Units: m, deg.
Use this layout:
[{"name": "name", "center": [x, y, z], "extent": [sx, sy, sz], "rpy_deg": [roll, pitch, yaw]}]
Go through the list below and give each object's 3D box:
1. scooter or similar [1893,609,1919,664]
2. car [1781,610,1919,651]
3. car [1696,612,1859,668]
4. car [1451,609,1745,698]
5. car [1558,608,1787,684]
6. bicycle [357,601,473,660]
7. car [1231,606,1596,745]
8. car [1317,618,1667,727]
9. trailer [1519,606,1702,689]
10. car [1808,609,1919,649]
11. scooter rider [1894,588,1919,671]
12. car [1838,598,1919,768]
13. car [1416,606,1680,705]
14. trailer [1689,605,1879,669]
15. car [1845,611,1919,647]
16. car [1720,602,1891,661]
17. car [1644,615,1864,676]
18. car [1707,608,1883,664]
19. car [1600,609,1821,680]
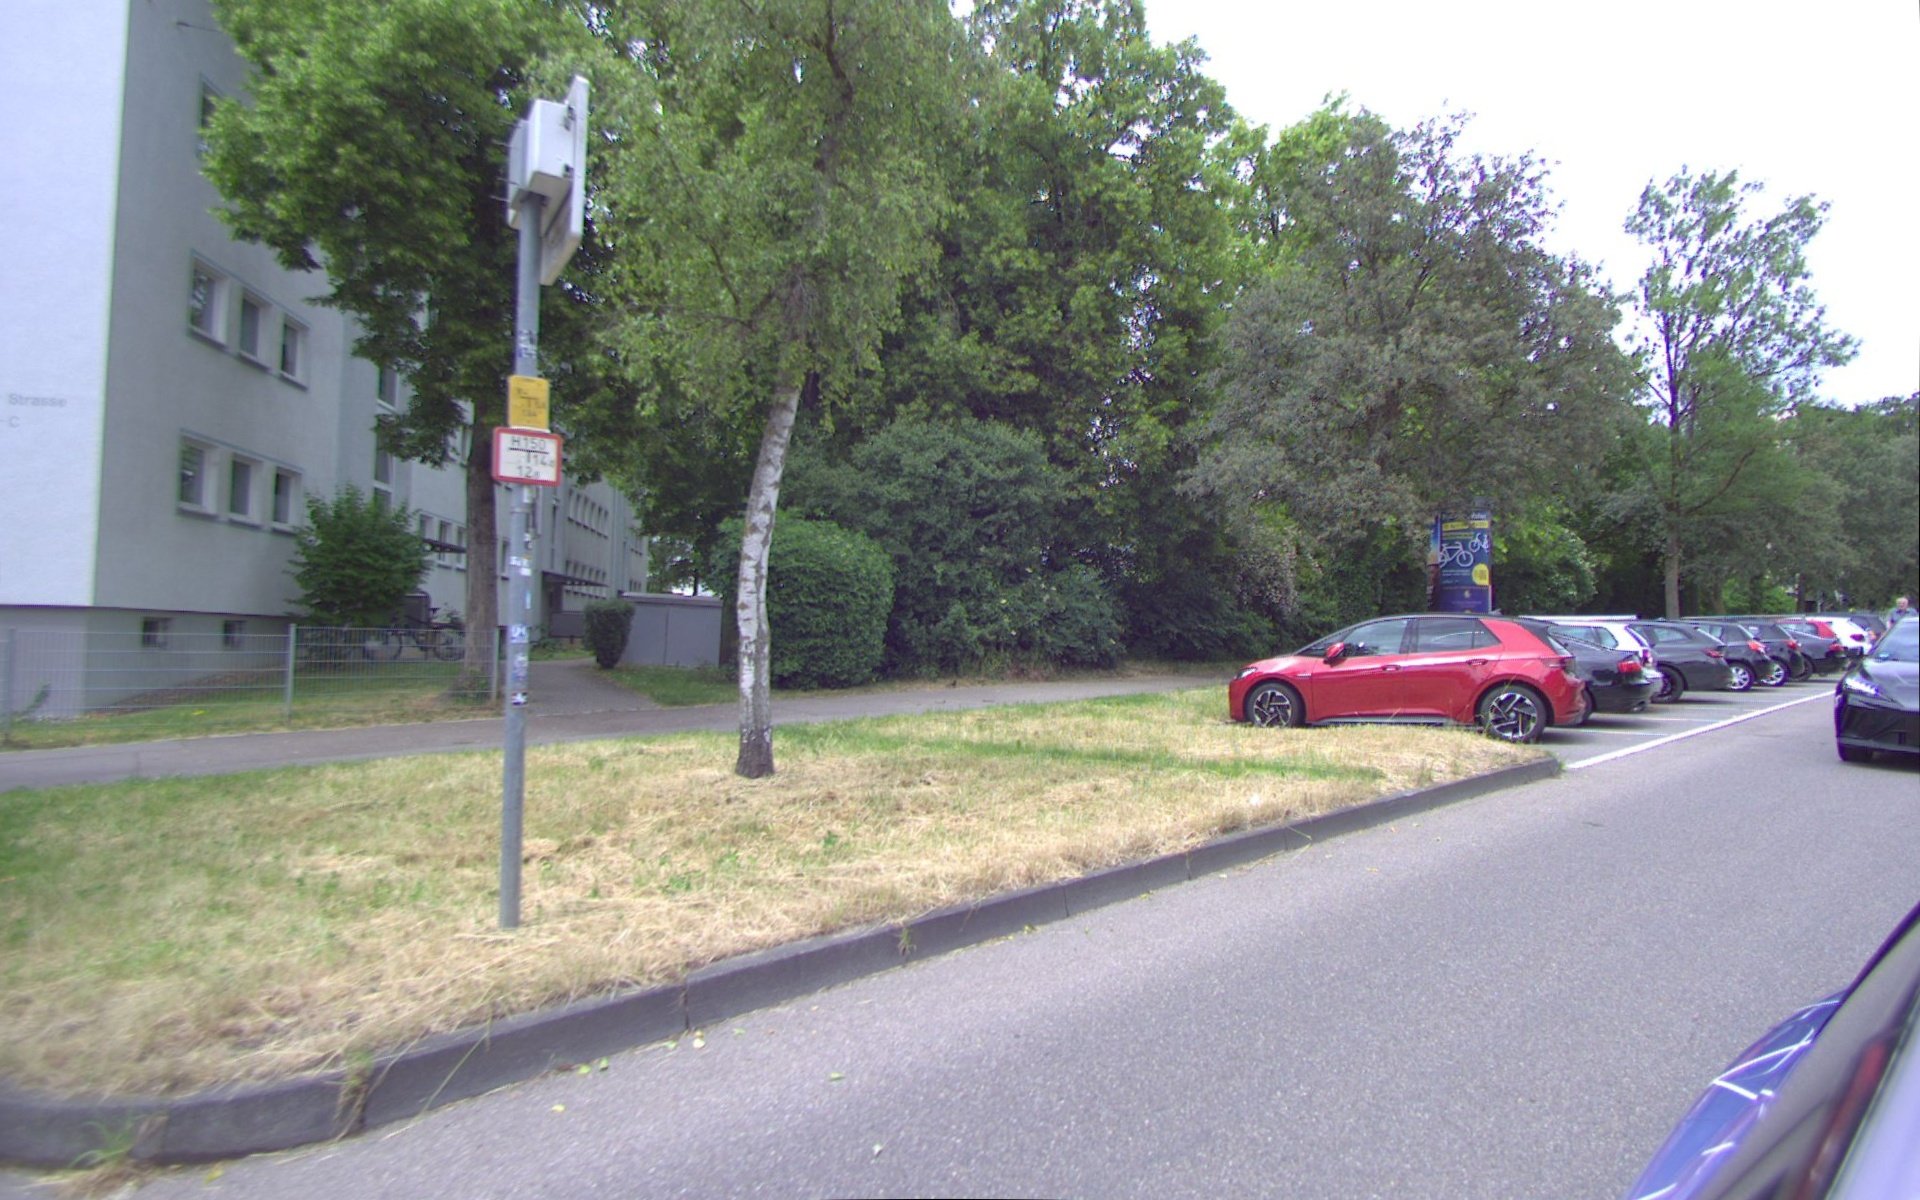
[{"name": "scooter or similar", "center": [20.627, 0.771, 21.806], "extent": [0.681, 1.154, 1.436], "rpy_deg": [-2, -3, 45]}, {"name": "car", "center": [33.610, 1.141, 38.011], "extent": [4.215, 1.483, 1.610], "rpy_deg": [-2, -2, 42]}, {"name": "car", "center": [22.763, 1.092, 28.323], "extent": [3.417, 1.464, 1.538], "rpy_deg": [-2, -2, 38]}, {"name": "car", "center": [11.445, 0.951, 18.459], "extent": [4.324, 1.464, 1.615], "rpy_deg": [-2, -2, 33]}, {"name": "car", "center": [15.063, 0.953, 21.501], "extent": [3.833, 1.474, 1.610], "rpy_deg": [-2, -2, 40]}, {"name": "bicycle", "center": [-10.556, 0.609, 19.656], "extent": [0.538, 1.092, 1.898], "rpy_deg": [-4, -5, 43]}, {"name": "car", "center": [5.724, 0.867, 12.962], "extent": [4.053, 1.535, 1.713], "rpy_deg": [-1, -1, 32]}, {"name": "car", "center": [7.662, 0.983, 14.772], "extent": [4.300, 1.358, 1.711], "rpy_deg": [-2, -2, 37]}, {"name": "trailer", "center": [13.046, 0.941, 20.363], "extent": [2.978, 1.562, 1.285], "rpy_deg": [-2, -3, 37]}, {"name": "car", "center": [35.607, 1.138, 39.664], "extent": [3.515, 1.495, 1.570], "rpy_deg": [-2, -2, 38]}, {"name": "scooter rider", "center": [20.607, 0.634, 21.764], "extent": [0.681, 1.752, 1.177], "rpy_deg": [-2, -3, 45]}, {"name": "car", "center": [10.680, 0.780, 10.430], "extent": [4.222, 1.570, 1.802], "rpy_deg": [1, -1, -40]}, {"name": "car", "center": [9.646, 0.879, 16.731], "extent": [3.597, 1.464, 1.613], "rpy_deg": [-2, -2, 35]}, {"name": "trailer", "center": [21.272, 0.964, 26.297], "extent": [3.681, 1.555, 1.623], "rpy_deg": [-2, -3, 39]}, {"name": "car", "center": [39.907, 1.195, 42.405], "extent": [4.126, 1.495, 1.554], "rpy_deg": [-2, -2, 39]}, {"name": "car", "center": [26.294, 0.975, 31.640], "extent": [3.978, 1.747, 1.657], "rpy_deg": [-2, -2, 39]}, {"name": "car", "center": [19.038, 1.081, 24.439], "extent": [4.029, 1.344, 1.537], "rpy_deg": [-2, -1, 39]}, {"name": "car", "center": [24.586, 1.051, 29.892], "extent": [1.579, 1.549, 3.822], "rpy_deg": [0, -2, -44]}, {"name": "car", "center": [17.019, 0.998, 23.120], "extent": [3.902, 1.506, 1.596], "rpy_deg": [-2, -2, 38]}]
